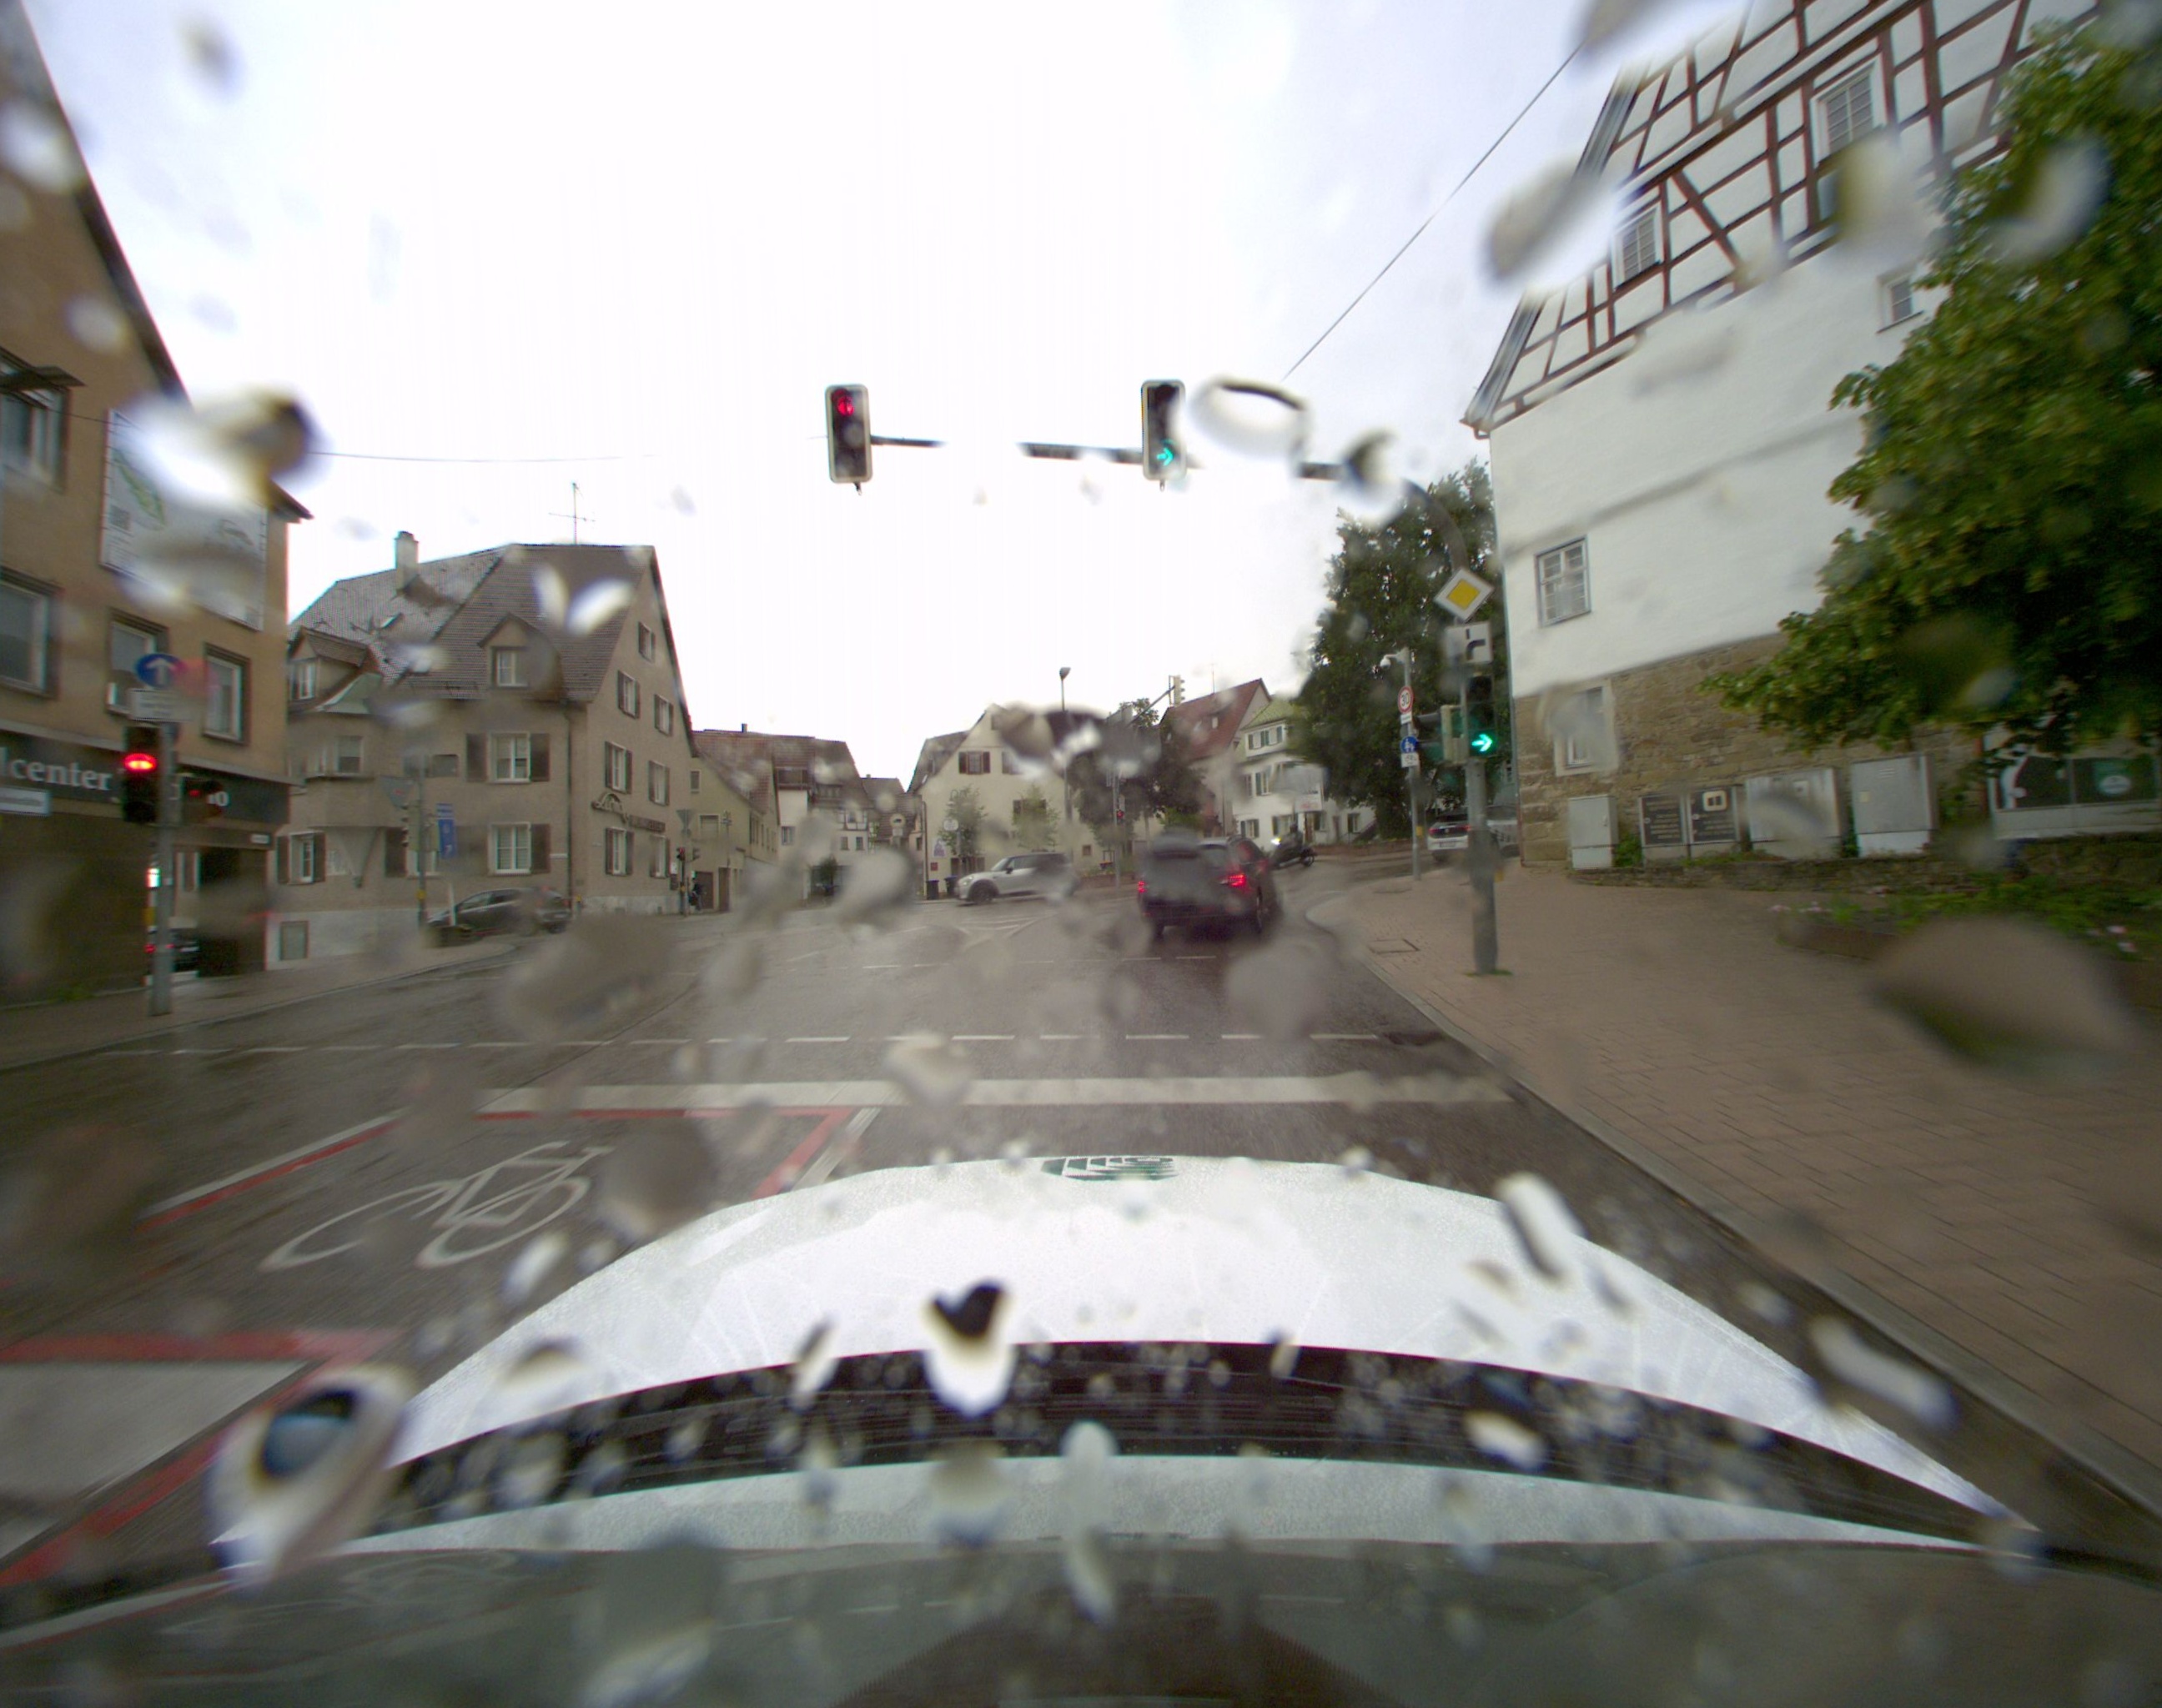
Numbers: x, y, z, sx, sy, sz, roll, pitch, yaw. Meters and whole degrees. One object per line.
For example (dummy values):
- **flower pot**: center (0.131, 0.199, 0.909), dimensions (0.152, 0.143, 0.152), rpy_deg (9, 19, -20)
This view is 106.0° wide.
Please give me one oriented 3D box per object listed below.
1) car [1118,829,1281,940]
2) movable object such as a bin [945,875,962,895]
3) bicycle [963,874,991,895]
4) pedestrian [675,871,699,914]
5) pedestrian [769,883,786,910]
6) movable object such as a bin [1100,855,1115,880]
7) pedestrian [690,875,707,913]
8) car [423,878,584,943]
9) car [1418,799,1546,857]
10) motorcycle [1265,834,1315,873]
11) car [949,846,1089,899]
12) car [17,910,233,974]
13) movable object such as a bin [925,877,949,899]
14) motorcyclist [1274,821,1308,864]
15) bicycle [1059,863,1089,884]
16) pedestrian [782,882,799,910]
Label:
- **car**: center (2.159, 0.388, 13.594), dimensions (1.871, 1.447, 4.379), rpy_deg (-2, 2, 19)
- **movable object such as a bin**: center (-5.971, 1.432, 38.012), dimensions (0.590, 0.901, 0.579), rpy_deg (-2, -1, -29)
- **bicycle**: center (-4.724, 1.378, 37.055), dimensions (0.334, 0.818, 1.446), rpy_deg (0, 2, 38)
- **pedestrian**: center (-17.461, 1.703, 36.084), dimensions (0.801, 1.830, 0.707), rpy_deg (-6, 1, -28)
- **pedestrian**: center (-20.009, 2.805, 53.672), dimensions (0.779, 1.732, 0.629), rpy_deg (-4, 0, -10)
- **movable object such as a bin**: center (1.351, 0.681, 41.198), dimensions (0.682, 1.276, 0.747), rpy_deg (-1, 0, -4)
- **pedestrian**: center (-17.698, 1.867, 37.695), dimensions (0.553, 1.729, 0.537), rpy_deg (-2, -3, -4)
- **car**: center (-16.615, 1.601, 23.563), dimensions (3.375, 1.477, 1.532), rpy_deg (-4, 1, -6)
- **car**: center (11.950, -0.790, 24.180), dimensions (4.021, 1.472, 1.841), rpy_deg (-4, 1, -39)
- **motorcycle**: center (6.750, -0.029, 26.238), dimensions (0.761, 1.130, 1.929), rpy_deg (-4, 0, 39)
- **car**: center (-1.954, 0.541, 25.038), dimensions (3.993, 1.431, 1.990), rpy_deg (-2, 0, -14)
- **car**: center (-27.830, 2.553, 23.765), dimensions (4.706, 1.588, 1.834), rpy_deg (-2, 0, 8)
- **movable object such as a bin**: center (-6.480, 1.524, 36.562), dimensions (0.717, 0.926, 0.792), rpy_deg (-2, 0, 24)
- **motorcyclist**: center (6.779, -0.364, 26.296), dimensions (0.801, 1.354, 0.672), rpy_deg (-2, 0, 40)
- **bicycle**: center (-0.342, 0.964, 40.230), dimensions (1.475, 0.912, 0.389), rpy_deg (-3, 2, -31)
- **pedestrian**: center (-19.194, 2.776, 53.809), dimensions (0.779, 1.732, 0.629), rpy_deg (-4, 0, -10)
